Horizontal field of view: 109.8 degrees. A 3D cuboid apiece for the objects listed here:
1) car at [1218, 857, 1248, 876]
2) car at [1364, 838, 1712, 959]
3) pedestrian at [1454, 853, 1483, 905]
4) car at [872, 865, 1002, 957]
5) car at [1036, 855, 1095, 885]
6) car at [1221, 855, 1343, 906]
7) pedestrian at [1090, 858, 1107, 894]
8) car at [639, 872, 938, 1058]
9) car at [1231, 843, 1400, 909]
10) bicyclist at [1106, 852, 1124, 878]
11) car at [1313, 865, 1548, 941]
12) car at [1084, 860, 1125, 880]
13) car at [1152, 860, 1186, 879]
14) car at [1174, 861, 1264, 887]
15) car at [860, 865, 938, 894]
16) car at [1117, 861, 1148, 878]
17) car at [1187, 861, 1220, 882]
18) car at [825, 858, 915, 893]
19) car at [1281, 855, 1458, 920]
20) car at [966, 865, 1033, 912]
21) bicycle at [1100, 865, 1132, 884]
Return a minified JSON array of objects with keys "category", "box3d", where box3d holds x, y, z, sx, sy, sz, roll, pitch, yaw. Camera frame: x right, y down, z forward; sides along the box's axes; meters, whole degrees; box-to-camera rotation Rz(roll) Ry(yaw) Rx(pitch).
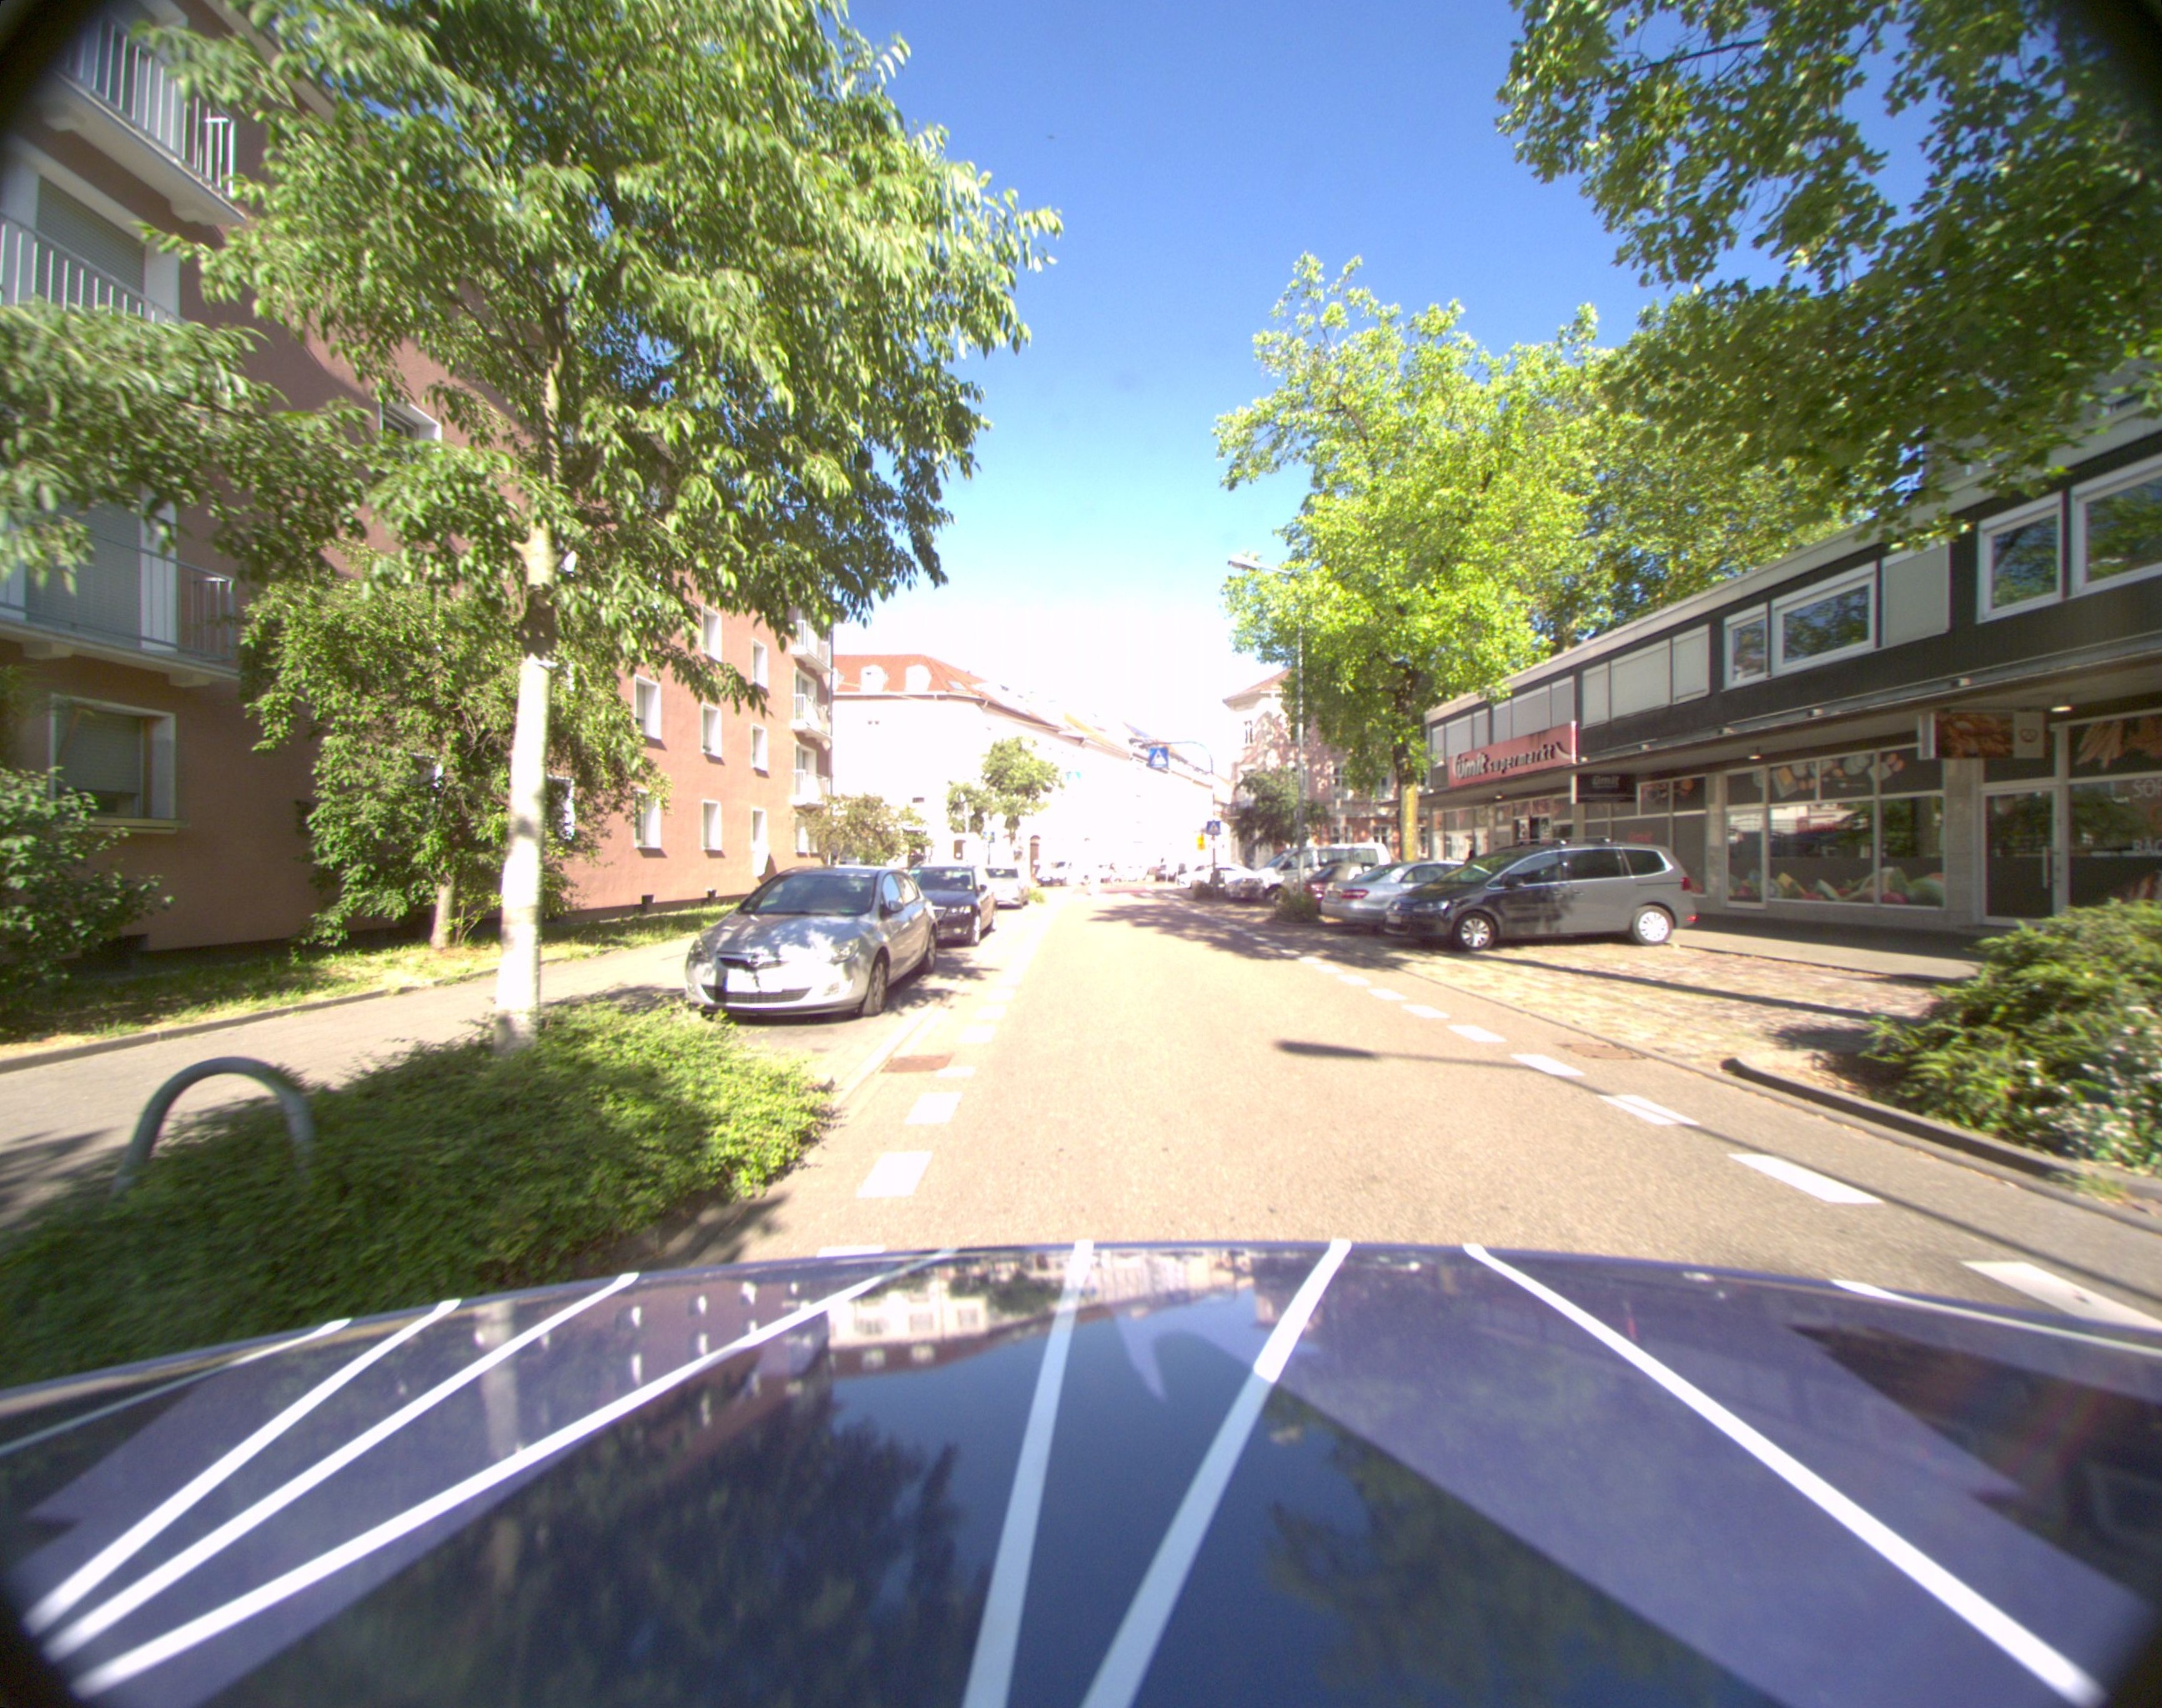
[{"category":"car","box3d":[14.072,1.118,70.381,1.854,1.652,4.007,0,0,24]},{"category":"car","box3d":[7.591,0.703,12.957,4.781,1.766,1.874,-2,0,-1]},{"category":"pedestrian","box3d":[11.891,0.748,23.327,0.529,1.546,0.663,-2,1,1]},{"category":"car","box3d":[-2.614,0.979,14.768,1.662,1.473,4.311,0,0,1]},{"category":"car","box3d":[-0.974,1.039,50.919,1.908,1.924,4.818,-1,0,26]},{"category":"car","box3d":[7.313,0.938,27.913,3.997,1.781,1.757,0,0,-1]},{"category":"pedestrian","box3d":[0.787,0.998,34.769,0.727,1.630,0.808,0,0,0]},{"category":"car","box3d":[-2.842,0.983,8.408,1.720,1.445,4.000,0,0,1]},{"category":"car","box3d":[7.720,0.711,25.338,4.996,1.958,1.909,-2,0,-2]},{"category":"bicyclist","box3d":[2.194,0.704,49.050,0.849,1.663,0.817,0,0,-34]},{"category":"car","box3d":[7.006,0.954,15.499,3.998,1.390,1.759,0,0,-2]},{"category":"car","box3d":[1.919,1.256,60.052,2.130,1.487,3.951,-1,0,19]},{"category":"car","box3d":[7.241,1.238,62.105,1.996,1.455,4.005,0,0,17]},{"category":"car","box3d":[7.839,1.147,43.438,4.802,1.417,2.000,0,0,-1]},{"category":"car","box3d":[-9.357,1.301,39.320,3.648,1.394,1.568,0,0,0]},{"category":"car","box3d":[4.476,1.314,65.220,1.632,1.412,3.300,0,0,23]},{"category":"car","box3d":[10.019,1.439,61.870,1.670,1.628,4.055,-1,0,24]},{"category":"car","box3d":[-12.278,1.233,44.554,4.756,2.002,1.999,0,0,-4]},{"category":"car","box3d":[7.647,0.868,20.372,3.997,1.412,1.737,-4,0,-2]},{"category":"car","box3d":[-2.627,1.083,25.328,1.736,1.420,4.000,0,0,1]},{"category":"bicycle","box3d":[2.256,1.310,48.982,0.877,1.179,2.285,0,0,-33]}]
